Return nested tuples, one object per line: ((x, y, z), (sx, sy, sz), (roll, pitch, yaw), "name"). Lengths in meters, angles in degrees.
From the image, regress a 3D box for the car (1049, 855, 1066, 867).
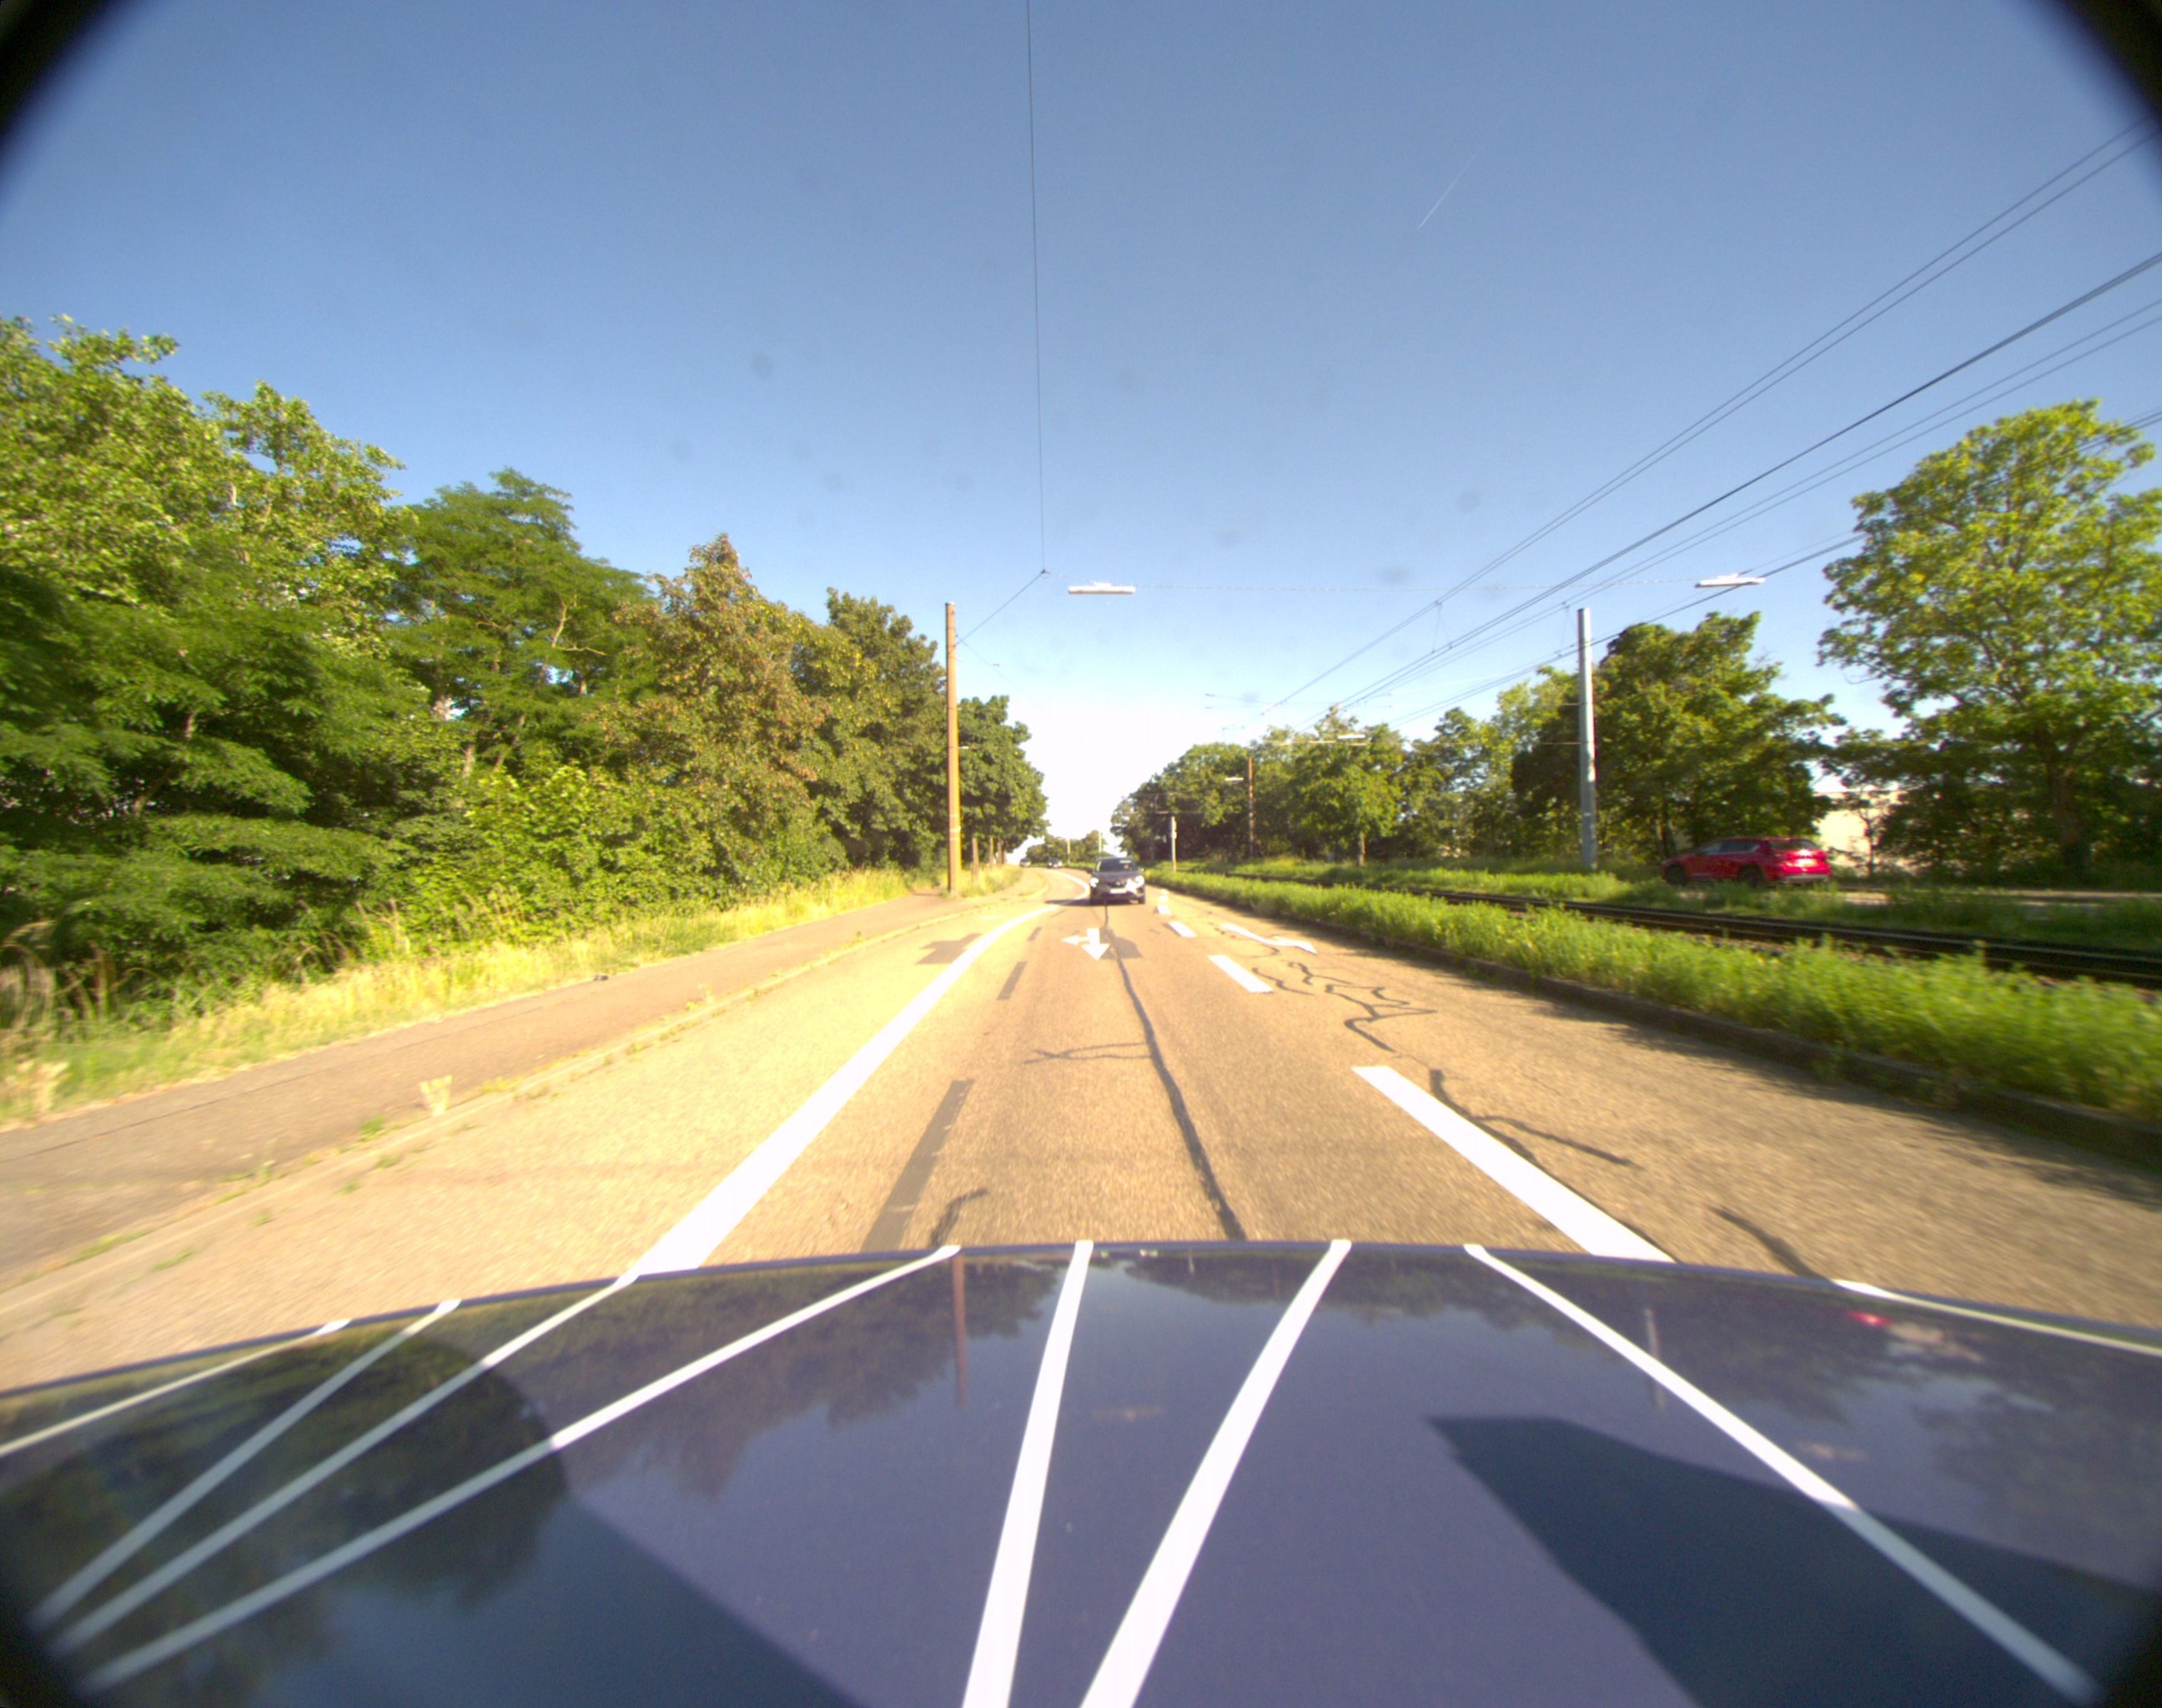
((-3.254, 0.917, 102.683), (1.999, 1.577, 3.998), (-3, 0, -5), "car")

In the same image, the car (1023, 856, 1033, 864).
((-11.667, 1.368, 166.730), (2.000, 1.577, 3.997), (-3, 0, -7), "car")

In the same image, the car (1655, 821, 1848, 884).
((20.575, -0.051, 23.633), (2.009, 1.692, 4.466), (-2, 0, -1), "car")

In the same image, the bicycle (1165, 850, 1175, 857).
((12.436, -0.104, 106.064), (0.820, 0.909, 2.536), (-2, 0, -5), "bicycle")

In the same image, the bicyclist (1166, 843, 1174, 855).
((12.433, -0.679, 105.940), (0.821, 1.726, 0.902), (-2, 1, -5), "bicyclist")

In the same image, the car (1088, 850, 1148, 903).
((1.229, 0.695, 26.069), (1.821, 1.589, 4.413), (-3, 0, 2), "car")

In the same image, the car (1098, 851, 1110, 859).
((4.529, 0.179, 149.997), (1.716, 1.471, 3.996), (-2, 0, -9), "car")
